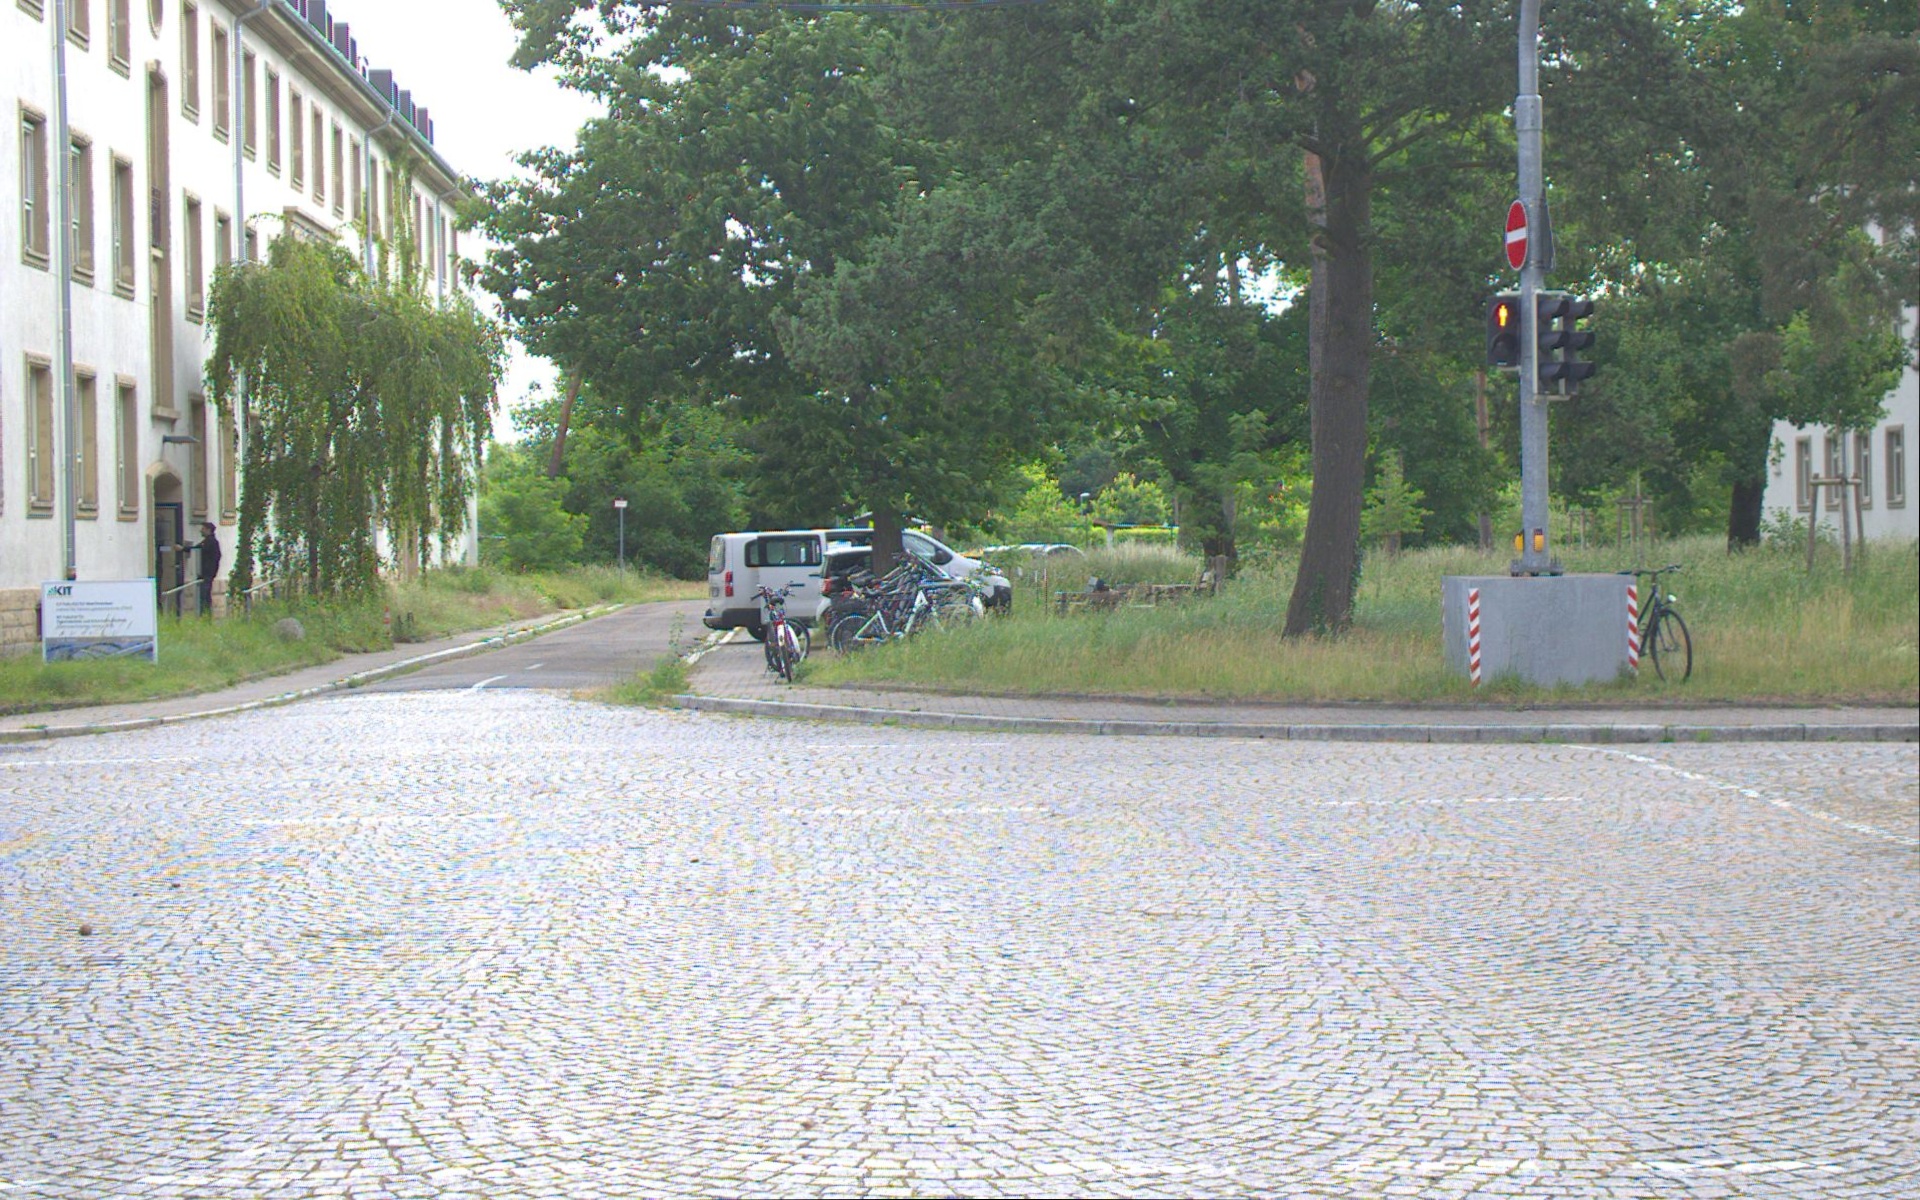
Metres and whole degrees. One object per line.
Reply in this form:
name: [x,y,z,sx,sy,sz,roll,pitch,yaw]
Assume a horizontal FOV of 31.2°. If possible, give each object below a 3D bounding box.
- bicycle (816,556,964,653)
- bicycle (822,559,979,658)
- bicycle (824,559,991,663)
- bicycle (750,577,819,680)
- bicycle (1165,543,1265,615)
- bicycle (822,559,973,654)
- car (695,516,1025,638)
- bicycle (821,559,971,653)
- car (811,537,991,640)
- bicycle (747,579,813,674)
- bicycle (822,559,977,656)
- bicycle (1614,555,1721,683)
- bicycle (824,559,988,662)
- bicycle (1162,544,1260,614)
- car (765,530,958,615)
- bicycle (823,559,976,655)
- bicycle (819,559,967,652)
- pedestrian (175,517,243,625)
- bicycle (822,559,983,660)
bicycle: [-0.981,0.059,47.829,1.982,1.243,0.624,-3,1,-3]
bicycle: [-0.767,0.103,43.929,1.982,1.243,0.624,0,0,-3]
bicycle: [-0.641,0.130,41.517,1.982,1.243,0.624,0,0,-3]
bicycle: [-1.933,0.301,38.109,0.622,1.110,1.989,0,1,1]
bicycle: [4.094,-0.333,55.201,1.549,1.121,0.401,-1,1,0]
bicycle: [-0.833,0.085,45.537,1.982,1.243,0.624,0,0,-3]
car: [-1.744,-0.413,59.592,5.303,1.909,2.150,-2,1,-16]
bicycle: [-0.865,0.077,46.164,1.982,1.243,0.624,0,0,-3]
car: [-0.981,-0.197,56.137,2.847,1.552,1.472,-2,2,-2]
bicycle: [-2.089,0.295,40.060,0.622,1.079,1.677,0,1,2]
bicycle: [-0.790,0.096,44.562,1.982,1.243,0.624,0,0,-3]
bicycle: [6.005,0.145,29.259,0.580,0.967,1.678,-3,3,2]
bicycle: [-0.670,0.123,42.145,1.982,1.243,0.624,0,0,-3]
bicycle: [4.115,-0.350,56.434,1.549,1.121,0.401,-1,1,0]
car: [-2.116,-0.597,73.476,4.031,1.712,1.681,-1,1,-3]
bicycle: [-0.799,0.090,45.087,1.982,1.243,0.624,0,0,-3]
bicycle: [-0.911,0.072,46.677,1.982,1.243,0.624,0,0,-3]
pedestrian: [-12.474,-0.485,57.128,0.837,1.775,0.941,-1,1,4]
bicycle: [-0.727,0.112,43.071,1.982,1.243,0.624,0,0,-3]
